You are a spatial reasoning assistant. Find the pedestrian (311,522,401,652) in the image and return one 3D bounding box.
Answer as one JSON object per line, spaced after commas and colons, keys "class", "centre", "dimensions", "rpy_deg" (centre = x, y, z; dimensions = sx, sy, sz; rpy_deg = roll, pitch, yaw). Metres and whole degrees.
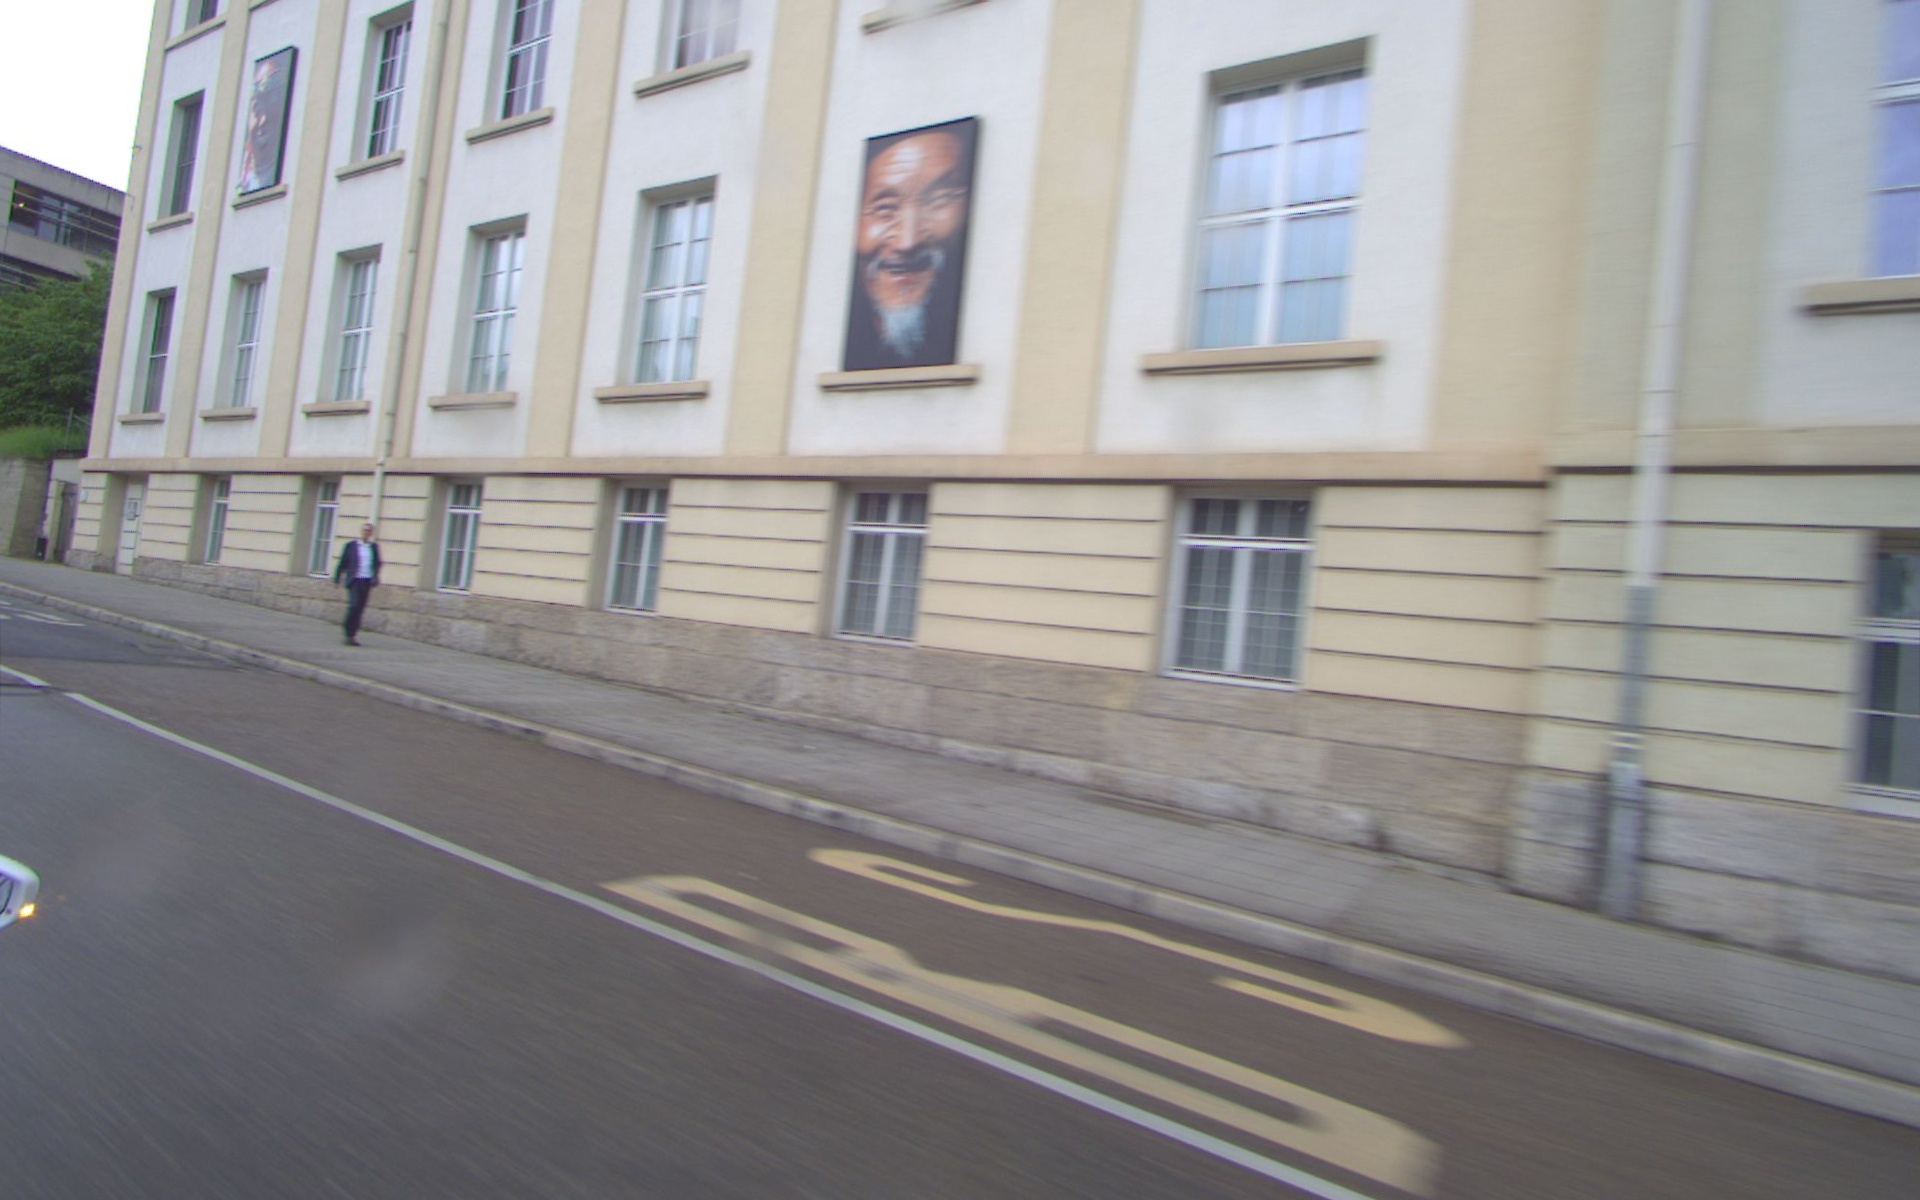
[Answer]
{"class": "pedestrian", "centre": [-9.034, -0.198, 15.056], "dimensions": [0.838, 1.819, 0.671], "rpy_deg": [6, -1, 33]}
